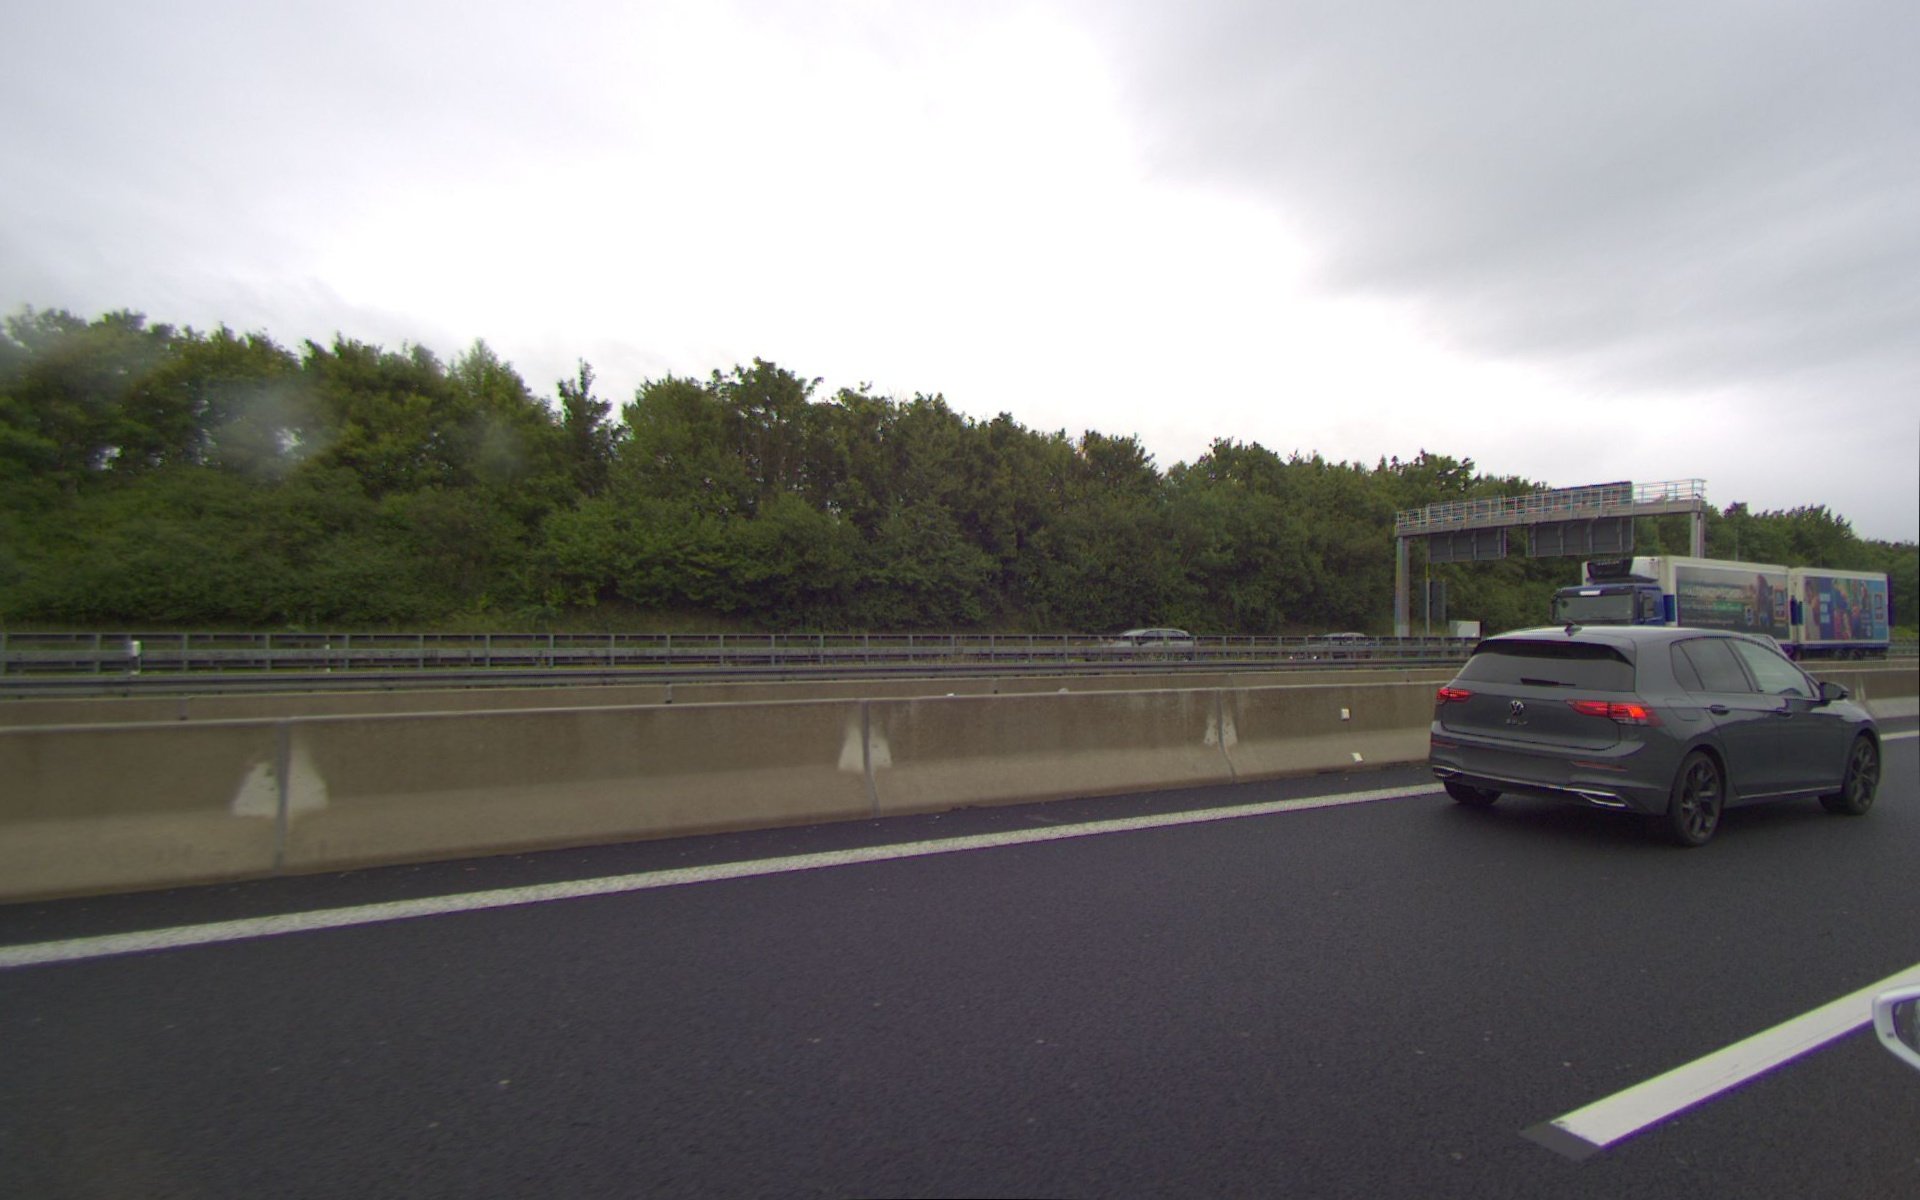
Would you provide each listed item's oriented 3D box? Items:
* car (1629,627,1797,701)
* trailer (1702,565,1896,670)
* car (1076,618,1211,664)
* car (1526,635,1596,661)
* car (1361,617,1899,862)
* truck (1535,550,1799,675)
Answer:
[{"bbox_3d":[18.934,1.552,25.244,3.953,1.639,1.984,1,0,-30],"label":"car"},{"bbox_3d":[31.162,0.678,37.225,7.956,3.563,2.929,2,0,-30],"label":"trailer"},{"bbox_3d":[6.640,1.476,36.319,4.632,1.558,1.985,1,-1,-30],"label":"car"},{"bbox_3d":[34.219,2.719,57.194,3.954,1.394,1.789,1,-1,-31],"label":"car"},{"bbox_3d":[5.384,0.909,7.956,4.316,1.444,1.822,2,0,-30],"label":"car"},{"bbox_3d":[23.107,0.466,32.543,10.515,3.572,2.795,2,0,-30],"label":"truck"}]
